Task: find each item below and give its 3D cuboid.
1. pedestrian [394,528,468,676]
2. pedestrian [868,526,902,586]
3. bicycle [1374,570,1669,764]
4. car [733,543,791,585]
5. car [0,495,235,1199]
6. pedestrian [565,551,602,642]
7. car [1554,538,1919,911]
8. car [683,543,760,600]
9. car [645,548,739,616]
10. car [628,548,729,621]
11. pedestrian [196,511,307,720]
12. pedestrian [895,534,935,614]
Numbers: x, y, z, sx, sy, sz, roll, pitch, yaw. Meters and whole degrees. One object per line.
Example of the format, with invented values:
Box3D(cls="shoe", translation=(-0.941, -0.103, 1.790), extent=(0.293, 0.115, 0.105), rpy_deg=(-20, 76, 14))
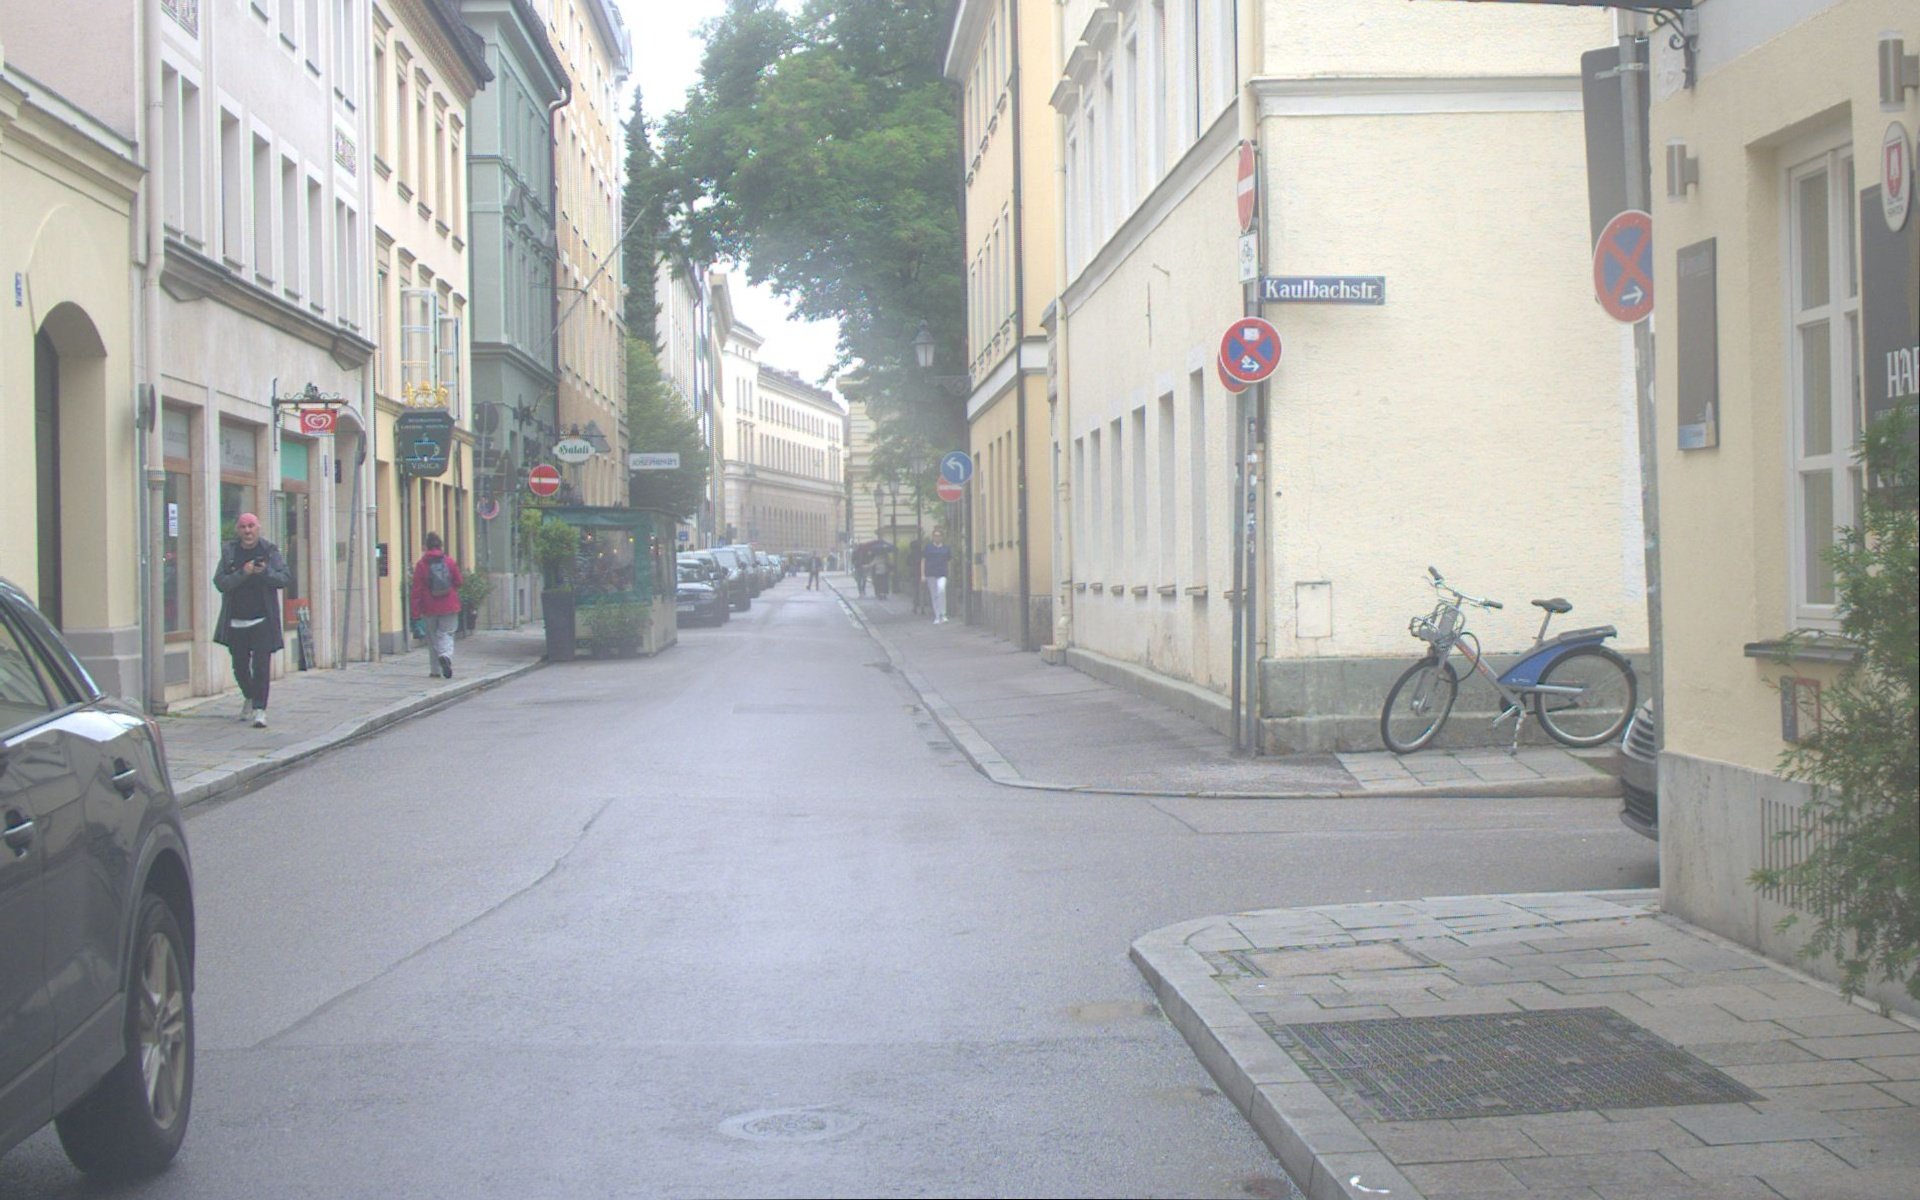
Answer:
Box3D(cls="pedestrian", translation=(-6.206, 0.013, 40.383), extent=(0.765, 1.702, 0.785), rpy_deg=(-1, 1, -4))
Box3D(cls="pedestrian", translation=(-2.270, -1.321, 103.366), extent=(1.015, 1.796, 1.349), rpy_deg=(0, 1, -1))
Box3D(cls="bicycle", translation=(3.554, 0.420, 21.819), extent=(1.757, 1.140, 0.586), rpy_deg=(-1, 3, -2))
Box3D(cls="car", translation=(-6.939, -1.280, 120.757), extent=(1.779, 1.461, 3.542), rpy_deg=(0, 1, 0))
Box3D(cls="car", translation=(-2.751, 0.602, 6.698), extent=(1.812, 1.588, 4.000), rpy_deg=(-1, 1, 0))
Box3D(cls="pedestrian", translation=(-5.468, -0.056, 49.894), extent=(0.509, 1.322, 0.631), rpy_deg=(0, 1, -4))
Box3D(cls="car", translation=(4.711, 0.485, 14.710), extent=(4.015, 1.436, 1.765), rpy_deg=(0, 3, 0))
Box3D(cls="car", translation=(-6.303, -0.764, 91.034), extent=(1.779, 1.461, 3.542), rpy_deg=(0, 1, 0))
Box3D(cls="car", translation=(-5.904, -0.417, 76.083), extent=(1.779, 1.461, 3.542), rpy_deg=(0, 1, 0))
Box3D(cls="car", translation=(-5.824, -0.346, 71.489), extent=(1.779, 1.461, 3.663), rpy_deg=(0, 1, 0))
Box3D(cls="pedestrian", translation=(-6.068, 0.121, 29.486), extent=(0.809, 1.749, 0.990), rpy_deg=(0, 2, -5))
Box3D(cls="pedestrian", translation=(-1.009, -0.591, 77.236), extent=(0.880, 1.796, 1.046), rpy_deg=(0, 1, -1))
